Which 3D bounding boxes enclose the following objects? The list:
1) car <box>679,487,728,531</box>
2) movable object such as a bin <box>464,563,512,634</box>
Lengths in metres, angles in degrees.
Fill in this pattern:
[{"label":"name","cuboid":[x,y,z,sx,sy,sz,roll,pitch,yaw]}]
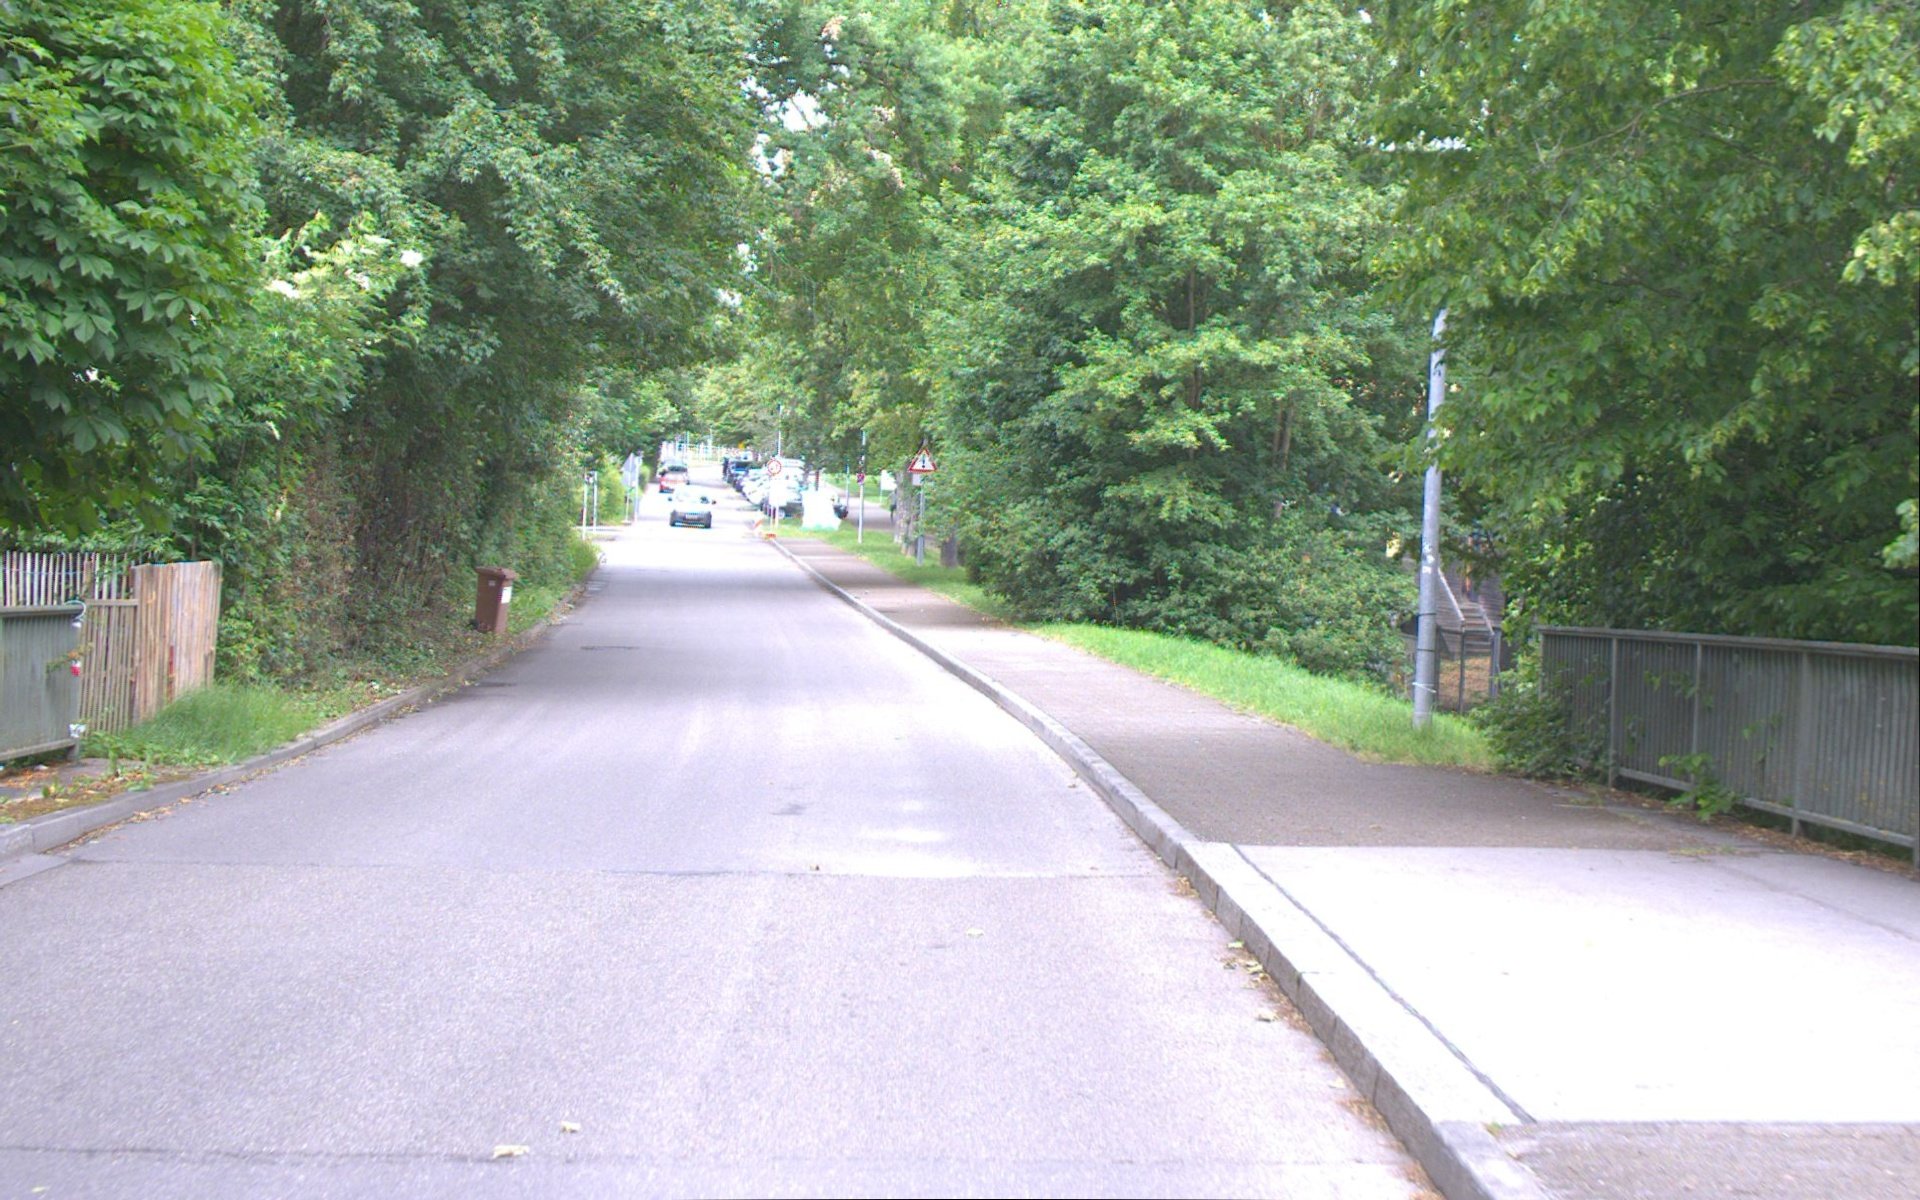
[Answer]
[{"label":"car","cuboid":[-11.141,-3.949,149.349,1.993,1.766,4.000,2,0,-3]},{"label":"movable object such as a bin","cuboid":[-6.481,-0.025,47.229,0.590,0.954,0.470,2,0,-3]}]
